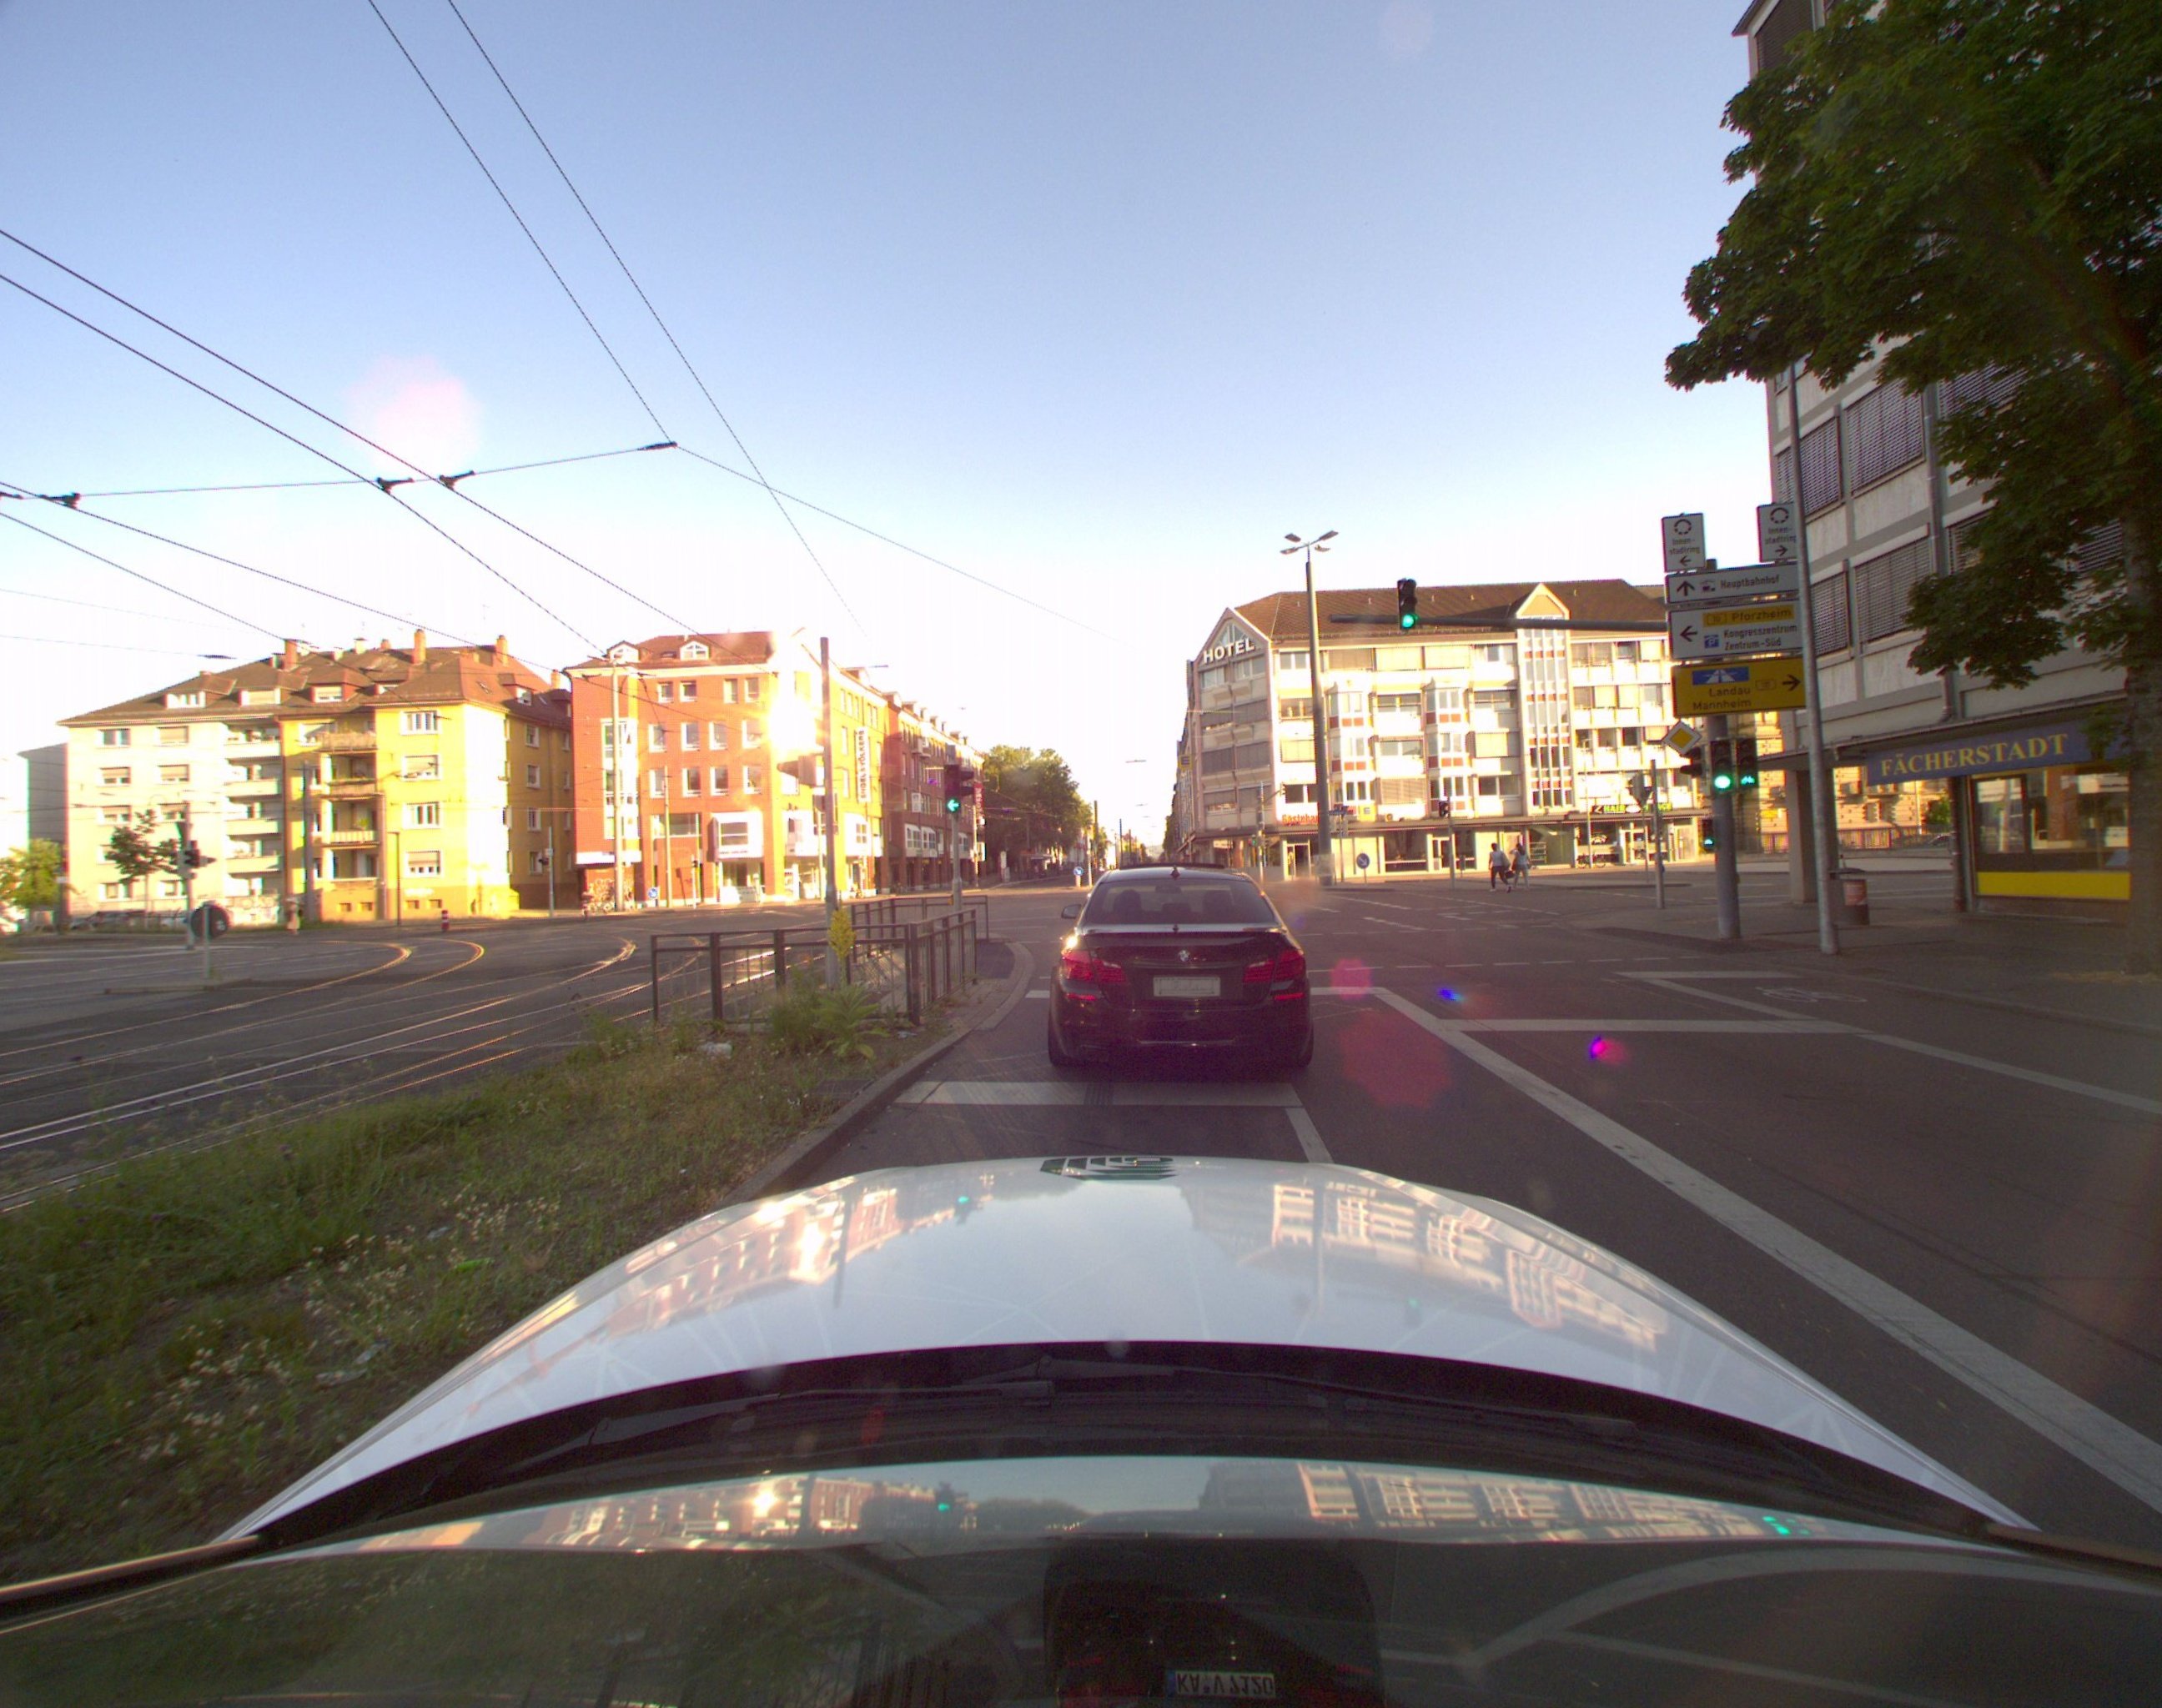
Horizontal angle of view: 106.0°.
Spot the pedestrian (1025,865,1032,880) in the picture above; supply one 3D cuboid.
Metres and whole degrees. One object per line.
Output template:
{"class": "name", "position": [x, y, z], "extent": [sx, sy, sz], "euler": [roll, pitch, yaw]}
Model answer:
{"class": "pedestrian", "position": [-5.773, 2.022, 89.304], "extent": [0.582, 1.657, 0.678], "euler": [-3, -1, 2]}

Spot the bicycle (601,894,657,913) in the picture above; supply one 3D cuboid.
{"class": "bicycle", "position": [-29.500, 3.243, 53.202], "extent": [3.049, 1.017, 0.930], "euler": [-3, -1, -5]}

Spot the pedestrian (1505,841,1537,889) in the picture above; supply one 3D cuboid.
{"class": "pedestrian", "position": [14.828, 0.359, 27.435], "extent": [0.696, 1.582, 0.831], "euler": [-4, -2, 41]}

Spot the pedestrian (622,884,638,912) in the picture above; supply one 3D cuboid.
{"class": "pedestrian", "position": [-29.935, 2.893, 54.059], "extent": [0.636, 1.778, 0.814], "euler": [-3, -1, -5]}

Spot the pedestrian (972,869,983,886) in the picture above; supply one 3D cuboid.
{"class": "pedestrian", "position": [-12.934, 2.901, 101.690], "extent": [1.081, 2.014, 1.084], "euler": [-2, -1, 0]}

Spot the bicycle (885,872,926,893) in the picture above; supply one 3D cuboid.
{"class": "bicycle", "position": [-15.457, 2.508, 71.901], "extent": [3.281, 1.726, 1.071], "euler": [-3, -1, 5]}

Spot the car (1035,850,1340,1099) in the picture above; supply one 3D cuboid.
{"class": "car", "position": [0.699, 0.755, 7.072], "extent": [1.834, 1.495, 4.293], "euler": [0, -1, 1]}

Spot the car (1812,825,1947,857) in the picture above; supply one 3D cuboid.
{"class": "car", "position": [41.230, -0.655, 42.181], "extent": [4.569, 1.556, 2.229], "euler": [0, -1, 9]}

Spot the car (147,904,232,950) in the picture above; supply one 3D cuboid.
{"class": "car", "position": [-59.018, 4.832, 53.954], "extent": [3.532, 1.415, 1.740], "euler": [-30, -5, 0]}

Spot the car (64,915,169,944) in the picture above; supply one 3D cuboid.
{"class": "car", "position": [-63.968, 4.994, 54.094], "extent": [4.322, 1.705, 2.118], "euler": [-2, -4, -1]}

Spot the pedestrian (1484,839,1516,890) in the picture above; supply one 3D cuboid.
{"class": "pedestrian", "position": [13.946, 0.356, 27.104], "extent": [0.718, 1.649, 0.776], "euler": [-4, -2, 41]}

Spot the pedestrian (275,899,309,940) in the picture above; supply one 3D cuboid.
{"class": "pedestrian", "position": [-31.160, 2.589, 32.179], "extent": [0.629, 1.541, 0.711], "euler": [-3, -1, 18]}

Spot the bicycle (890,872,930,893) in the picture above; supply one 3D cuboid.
{"class": "bicycle", "position": [-15.338, 2.548, 73.066], "extent": [3.282, 1.726, 1.070], "euler": [-3, -1, 3]}

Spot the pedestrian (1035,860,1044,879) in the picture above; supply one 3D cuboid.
{"class": "pedestrian", "position": [-4.570, 1.735, 89.018], "extent": [0.805, 2.014, 0.678], "euler": [-3, -1, 2]}

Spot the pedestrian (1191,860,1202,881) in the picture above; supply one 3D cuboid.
{"class": "pedestrian", "position": [9.047, 1.313, 63.969], "extent": [0.703, 1.548, 0.907], "euler": [-1, 2, 1]}
